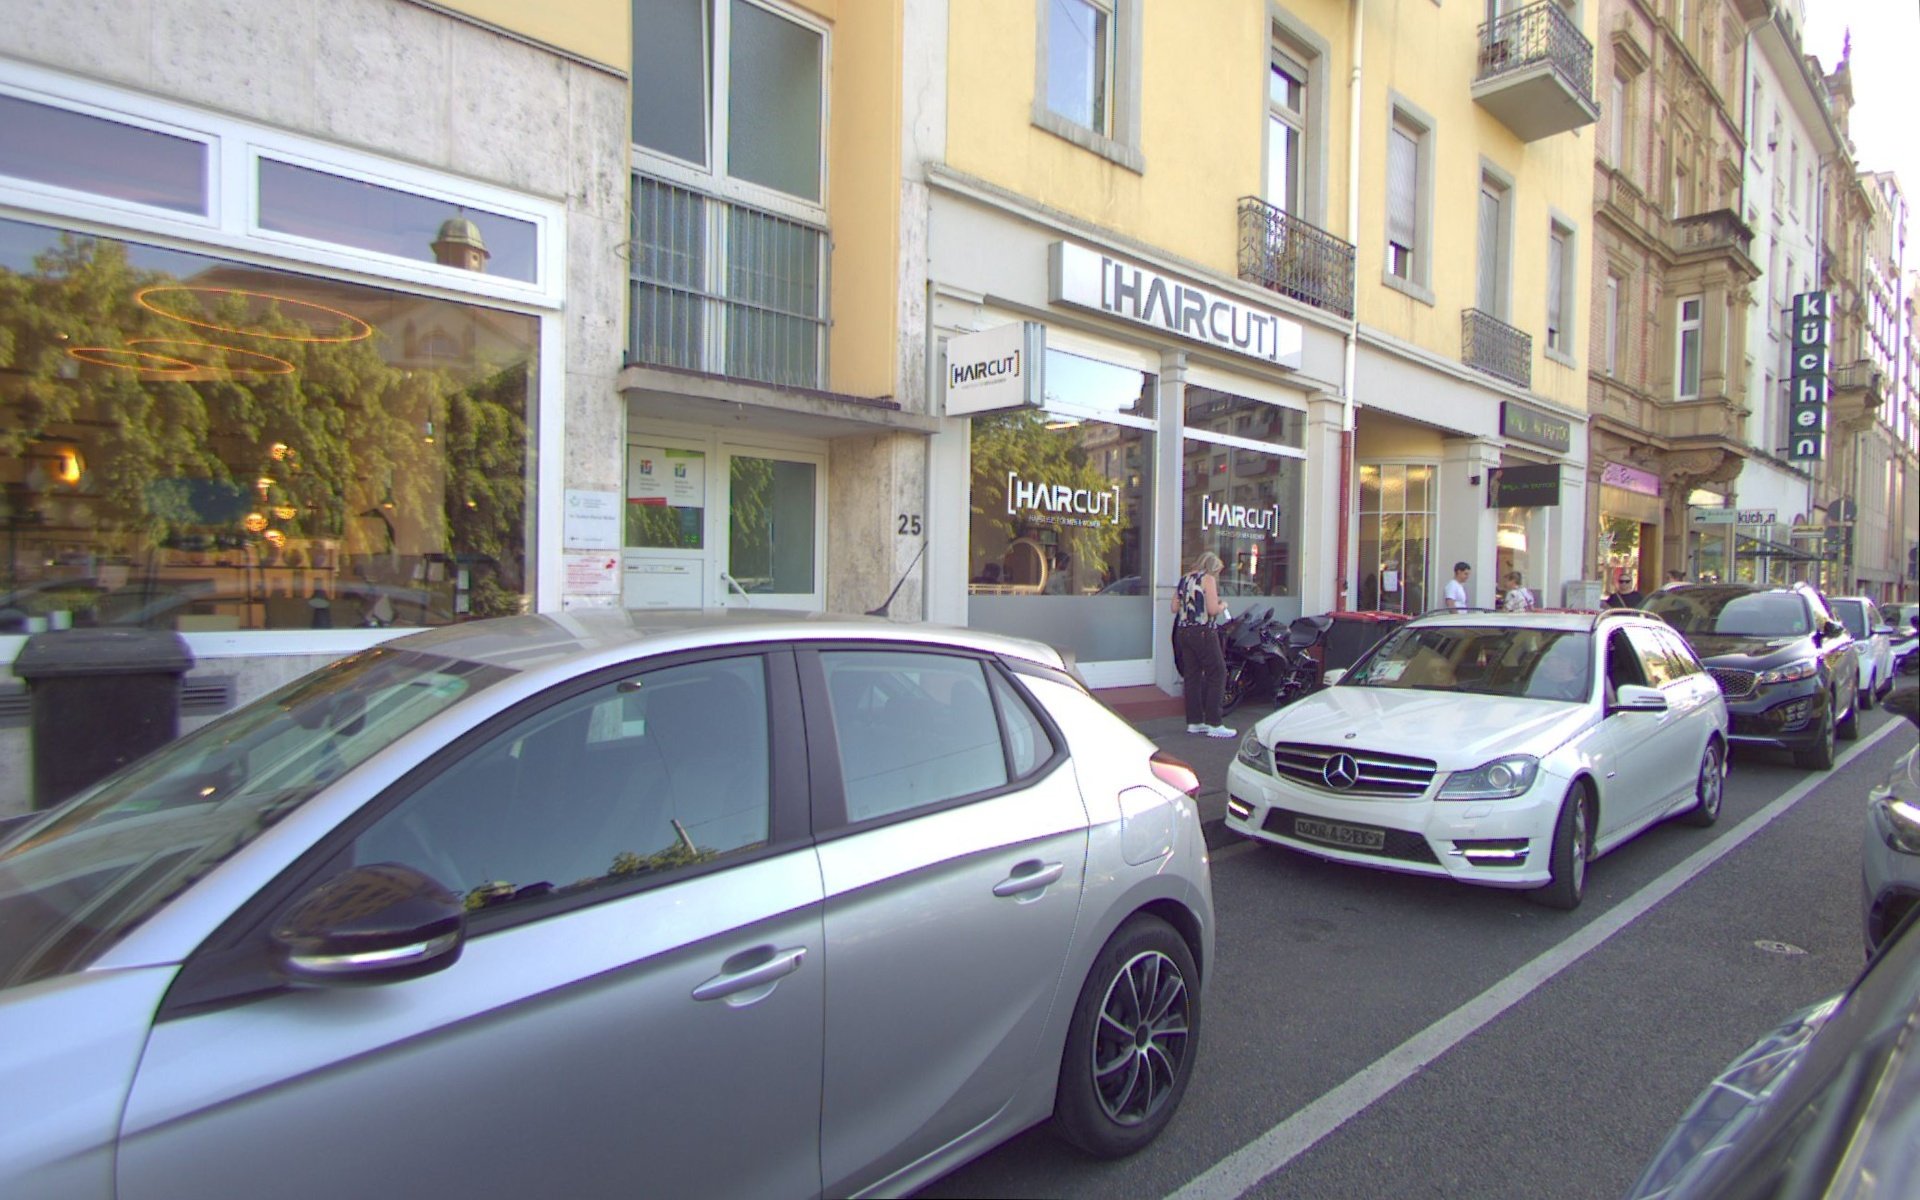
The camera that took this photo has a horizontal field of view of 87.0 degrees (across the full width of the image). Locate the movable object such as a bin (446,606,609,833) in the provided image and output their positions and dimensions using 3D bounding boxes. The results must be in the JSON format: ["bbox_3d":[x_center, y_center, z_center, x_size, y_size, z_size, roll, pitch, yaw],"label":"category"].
[{"bbox_3d":[-2.359,0.599,5.502,0.609,1.080,0.704,0,4,-41],"label":"movable object such as a bin"}]

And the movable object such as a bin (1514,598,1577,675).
[{"bbox_3d":[8.816,0.531,15.244,0.608,1.079,0.606,0,4,-41],"label":"movable object such as a bin"}]

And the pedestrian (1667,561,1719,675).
[{"bbox_3d":[10.840,0.253,14.977,0.508,1.653,0.412,1,0,19],"label":"pedestrian"}]

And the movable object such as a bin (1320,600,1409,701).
[{"bbox_3d":[4.570,0.550,11.445,0.608,1.054,0.661,1,3,-38],"label":"movable object such as a bin"}]

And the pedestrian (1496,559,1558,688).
[{"bbox_3d":[7.596,0.299,13.584,0.585,1.681,0.449,2,2,18],"label":"pedestrian"}]

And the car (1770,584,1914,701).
[{"bbox_3d":[12.881,0.543,14.744,2.747,1.537,1.274,0,1,-42],"label":"car"}]

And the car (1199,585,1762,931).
[{"bbox_3d":[3.538,0.653,6.437,4.387,1.465,1.741,0,1,-42],"label":"car"}]

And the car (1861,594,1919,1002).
[{"bbox_3d":[5.574,0.720,4.495,4.297,1.467,1.846,0,1,-41],"label":"car"}]

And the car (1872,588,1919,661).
[{"bbox_3d":[22.107,0.521,23.018,4.096,1.537,1.734,0,1,-44],"label":"car"}]

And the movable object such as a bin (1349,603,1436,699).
[{"bbox_3d":[5.060,0.578,11.847,0.608,1.037,0.669,1,3,-38],"label":"movable object such as a bin"}]

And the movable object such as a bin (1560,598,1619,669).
[{"bbox_3d":[10.234,0.526,16.451,0.608,1.079,0.606,0,4,-41],"label":"movable object such as a bin"}]

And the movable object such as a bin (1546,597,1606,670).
[{"bbox_3d":[9.763,0.519,16.044,0.608,1.079,0.606,0,4,-41],"label":"movable object such as a bin"}]

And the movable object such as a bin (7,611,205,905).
[{"bbox_3d":[-3.665,0.616,4.362,0.609,1.080,0.704,0,4,-41],"label":"movable object such as a bin"}]

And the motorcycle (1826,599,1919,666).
[{"bbox_3d":[19.023,0.655,20.473,2.137,1.295,0.866,1,0,7],"label":"motorcycle"}]

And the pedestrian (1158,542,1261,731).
[{"bbox_3d":[2.285,0.305,9.290,0.523,1.653,0.697,0,2,-43],"label":"pedestrian"}]

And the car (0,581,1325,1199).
[{"bbox_3d":[-0.875,0.688,2.445,4.008,1.445,1.672,0,1,-43],"label":"car"}]

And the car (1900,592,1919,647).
[{"bbox_3d":[26.583,0.510,27.065,3.736,1.435,1.736,0,1,-41],"label":"car"}]

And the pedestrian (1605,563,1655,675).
[{"bbox_3d":[10.129,0.267,15.303,0.615,1.653,0.457,1,0,35],"label":"pedestrian"}]

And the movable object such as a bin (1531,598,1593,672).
[{"bbox_3d":[9.305,0.525,15.650,0.608,1.079,0.606,0,4,-41],"label":"movable object such as a bin"}]

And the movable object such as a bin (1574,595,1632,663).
[{"bbox_3d":[10.723,0.472,16.884,0.608,1.079,0.606,0,4,-41],"label":"movable object such as a bin"}]

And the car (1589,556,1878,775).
[{"bbox_3d":[8.055,0.500,10.362,4.498,1.758,1.756,0,1,-45],"label":"car"}]

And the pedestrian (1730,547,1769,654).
[{"bbox_3d":[13.360,0.002,17.127,0.473,1.785,0.434,0,0,-41],"label":"pedestrian"}]

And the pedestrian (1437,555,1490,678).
[{"bbox_3d":[7.001,0.221,14.075,0.513,1.681,0.339,1,2,-20],"label":"pedestrian"}]

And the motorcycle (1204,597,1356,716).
[{"bbox_3d":[3.351,0.532,10.495,1.975,1.105,0.551,0,3,-42],"label":"motorcycle"}]
